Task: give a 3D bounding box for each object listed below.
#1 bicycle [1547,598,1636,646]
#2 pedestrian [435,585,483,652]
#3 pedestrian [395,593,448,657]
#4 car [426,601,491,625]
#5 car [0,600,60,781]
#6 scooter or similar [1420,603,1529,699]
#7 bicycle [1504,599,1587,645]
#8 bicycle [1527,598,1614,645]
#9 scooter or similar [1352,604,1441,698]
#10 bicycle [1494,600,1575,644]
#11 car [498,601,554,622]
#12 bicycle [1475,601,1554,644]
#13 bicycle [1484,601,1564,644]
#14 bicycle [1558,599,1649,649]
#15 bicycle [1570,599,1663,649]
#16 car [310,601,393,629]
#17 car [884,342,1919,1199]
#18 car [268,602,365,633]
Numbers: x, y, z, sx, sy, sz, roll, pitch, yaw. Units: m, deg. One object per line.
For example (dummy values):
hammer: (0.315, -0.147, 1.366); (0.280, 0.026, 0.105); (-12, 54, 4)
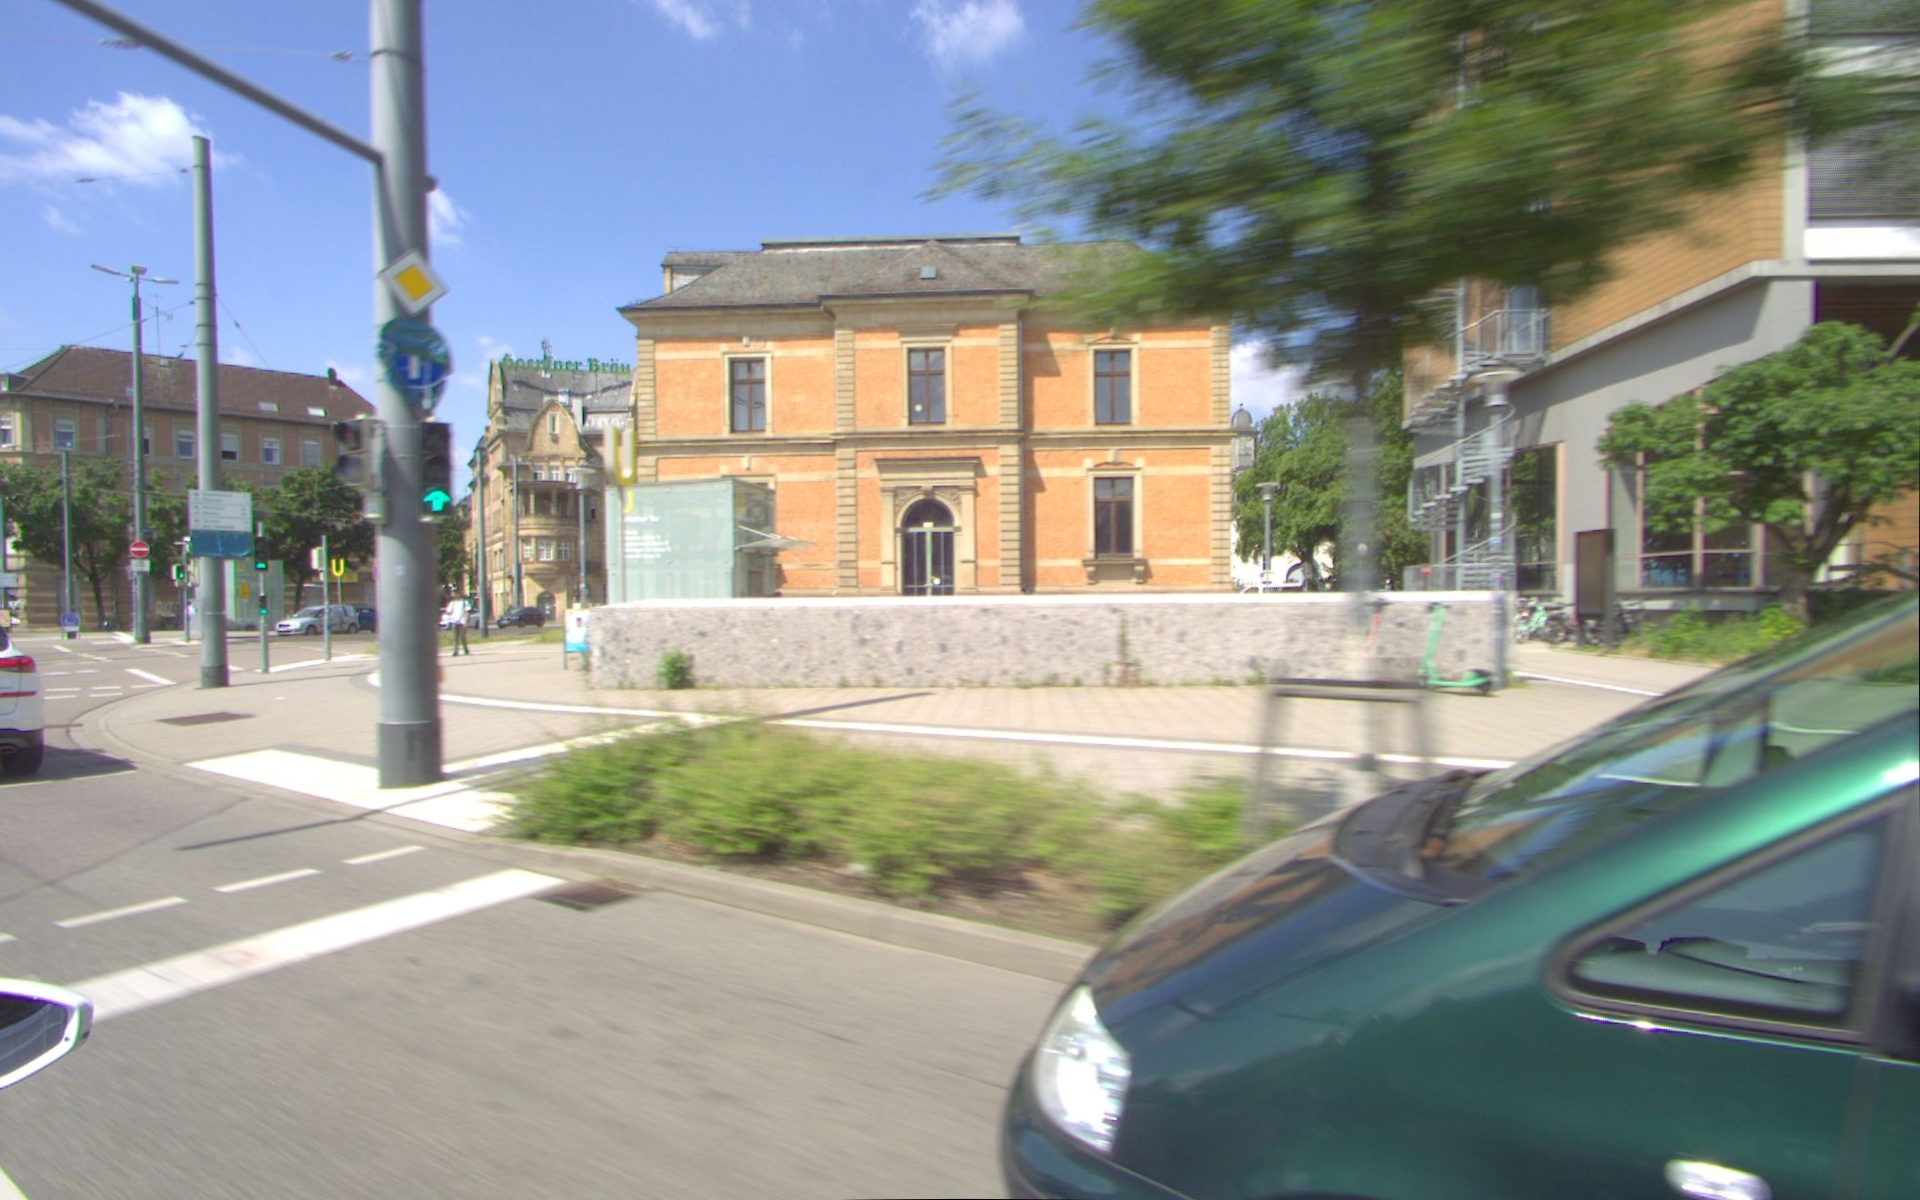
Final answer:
bicycle: (14.724, 0.520, 23.365); (1.846, 1.048, 0.374); (-2, -1, -3)
pedestrian: (-13.795, 0.508, 27.614); (0.847, 1.775, 0.757); (-3, 2, -1)
pedestrian: (-14.814, 0.673, 27.550); (0.847, 1.680, 0.966); (-3, 2, -1)
car: (-33.205, 0.847, 66.454); (1.691, 1.493, 4.137); (0, 0, 10)
car: (-10.796, 0.841, 10.039); (4.178, 1.663, 1.874); (0, 0, 37)
scooter or similar: (6.536, 0.617, 12.788); (0.227, 1.139, 1.448); (-1, 2, -20)
bicycle: (14.614, 0.549, 24.999); (1.846, 1.048, 0.396); (-2, -1, -3)
bicycle: (14.664, 0.520, 24.055); (1.846, 1.048, 0.374); (-2, -1, -3)
scooter or similar: (5.677, 0.636, 13.083); (0.227, 1.139, 1.279); (-1, 2, -20)
bicycle: (14.599, 0.564, 25.464); (1.846, 1.048, 0.374); (-2, -1, -3)
car: (-31.832, 0.818, 73.586); (1.691, 1.493, 4.136); (0, 0, 12)
bicycle: (14.578, 0.591, 26.331); (1.846, 1.048, 0.374); (-2, -1, -3)
bicycle: (14.586, 0.577, 25.888); (1.846, 1.048, 0.374); (-2, -1, -3)
bicycle: (14.745, 0.552, 22.947); (1.846, 1.048, 0.374); (-2, -1, -3)
bicycle: (14.770, 0.543, 22.529); (1.846, 1.048, 0.374); (-2, -1, -3)
car: (-34.525, 0.824, 56.931); (1.691, 1.493, 4.136); (0, 0, 12)
car: (2.193, 0.627, 1.266); (4.384, 1.745, 1.792); (-1, -2, 32)
car: (-32.559, 0.879, 50.799); (1.691, 1.493, 4.136); (0, 0, 12)
